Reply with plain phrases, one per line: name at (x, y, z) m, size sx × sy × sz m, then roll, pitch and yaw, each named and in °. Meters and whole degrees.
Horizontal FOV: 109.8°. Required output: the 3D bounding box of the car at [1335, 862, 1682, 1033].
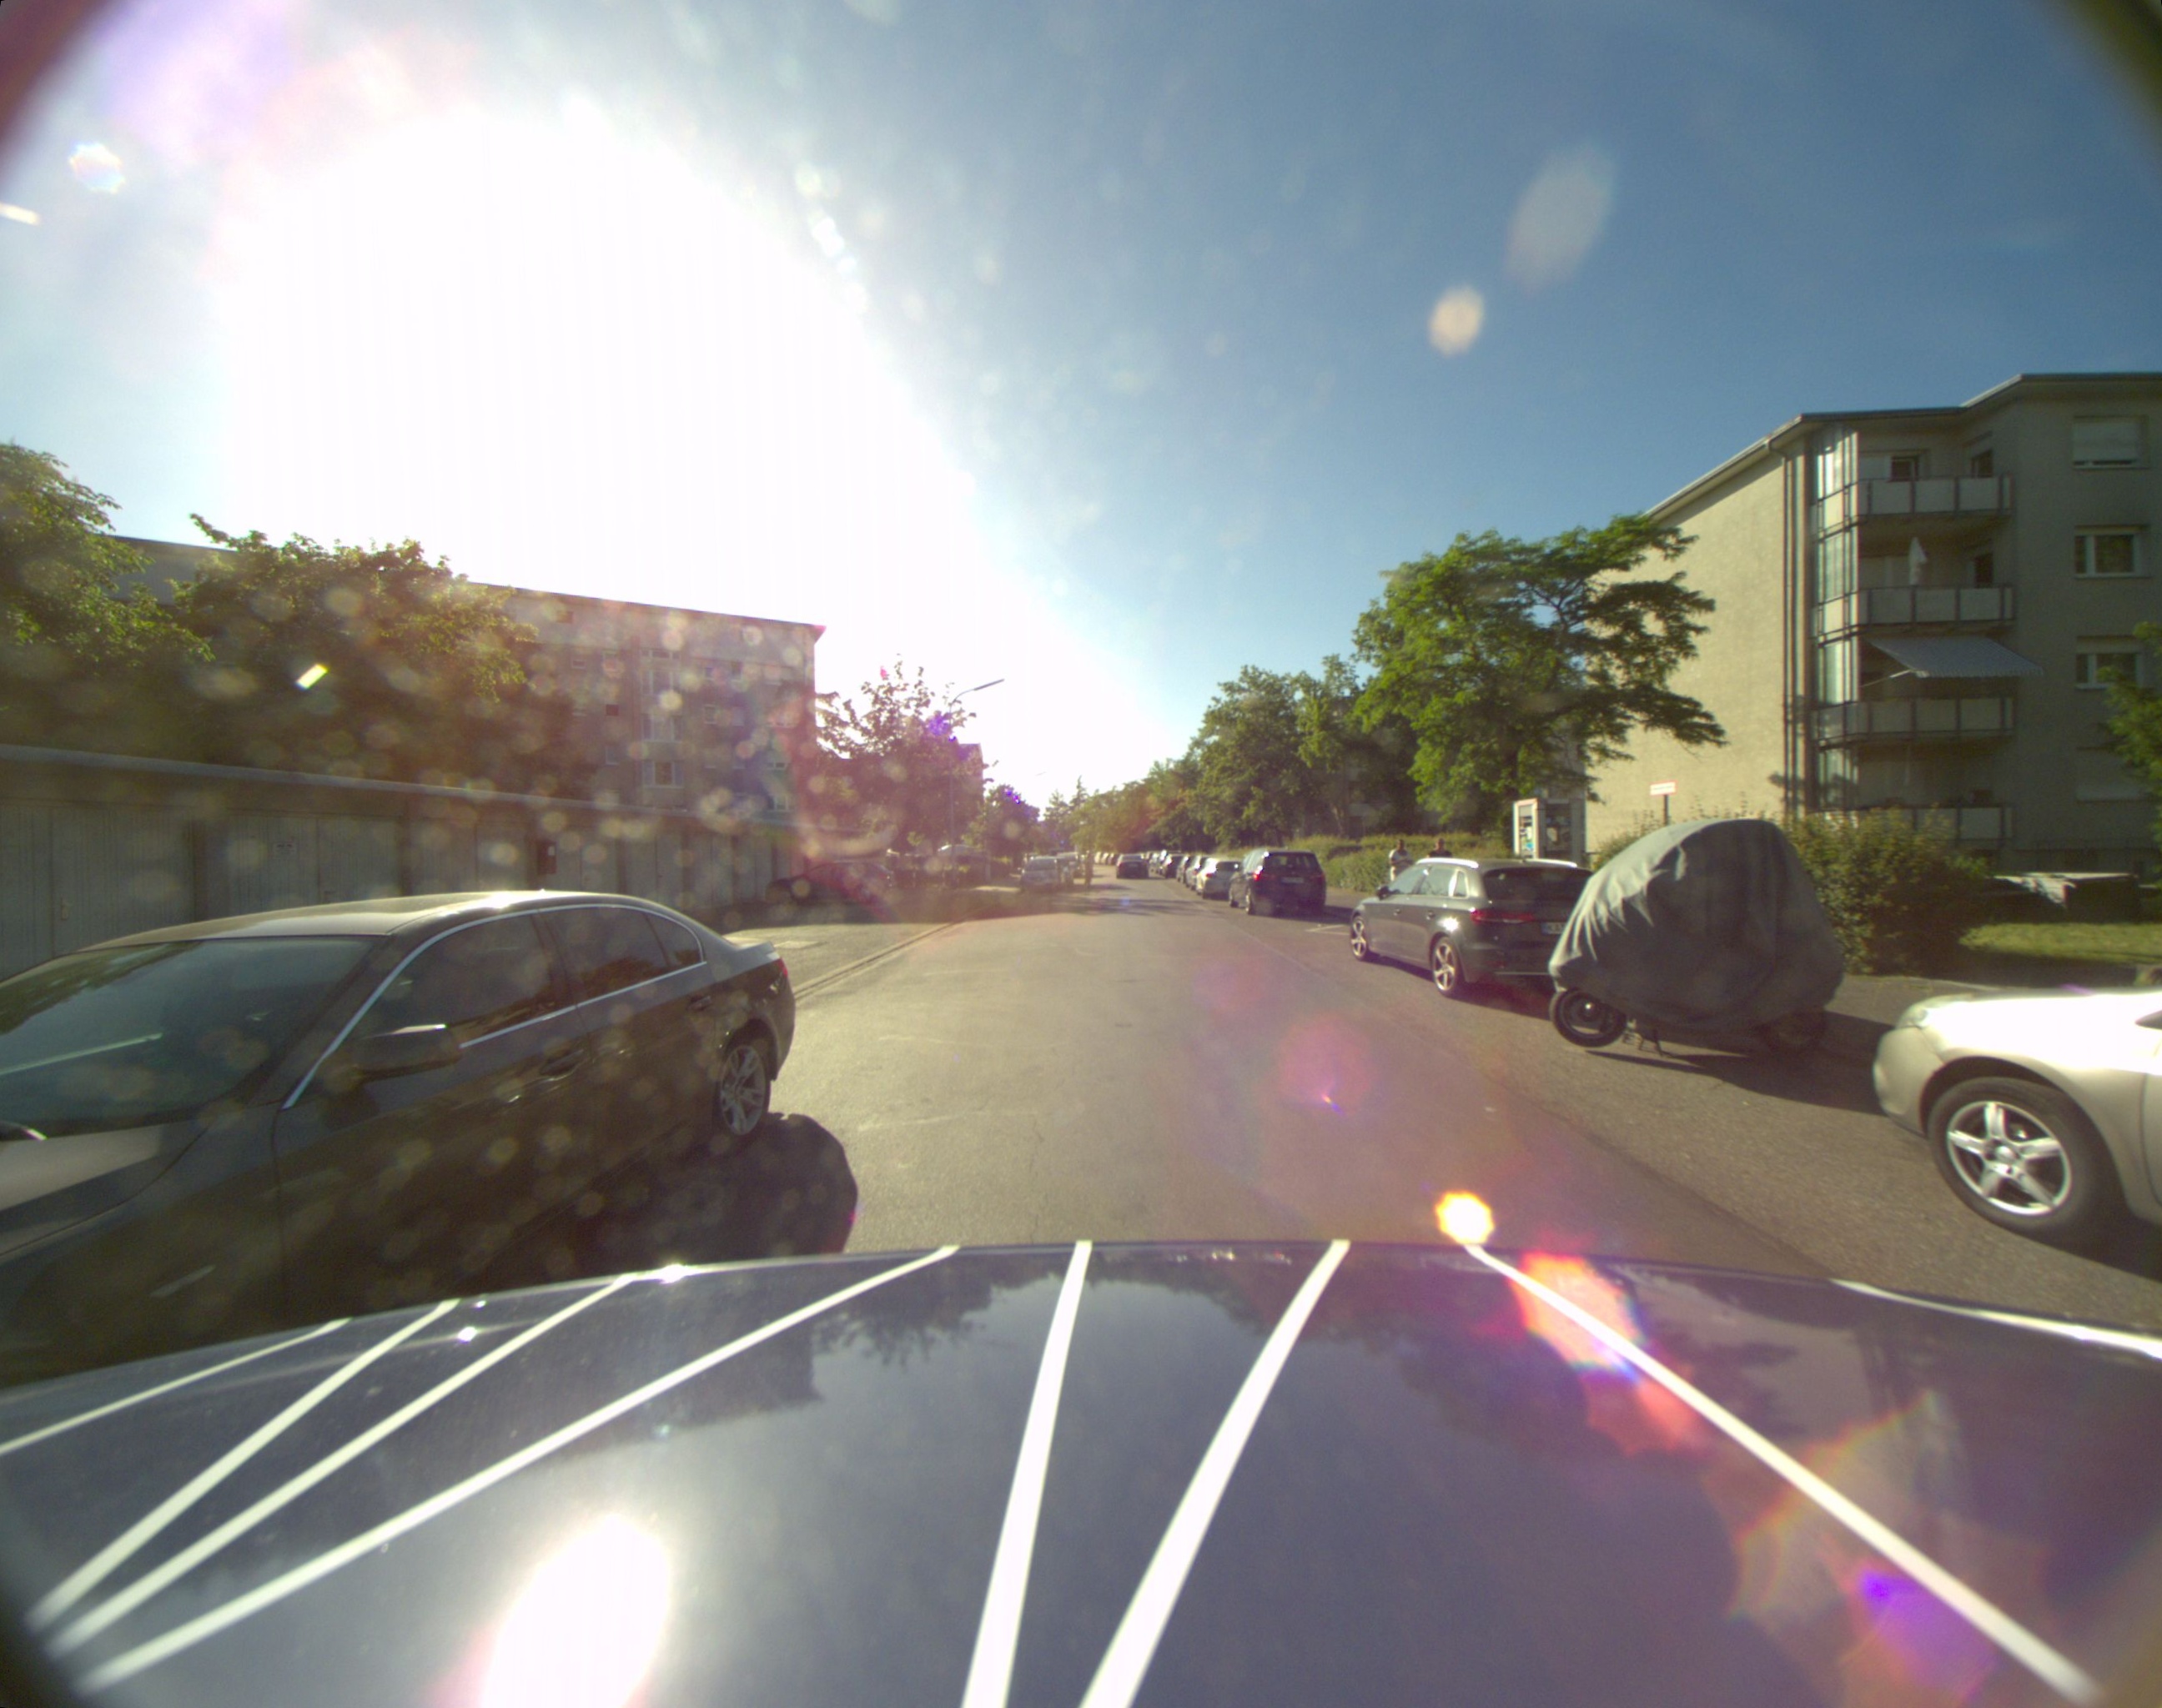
car at (4.524, 0.857, 8.914) m, size 1.758 × 1.413 × 4.269 m, roll 1°, pitch 1°, yaw 2°

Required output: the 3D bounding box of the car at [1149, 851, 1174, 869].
car at (6.725, 0.492, 64.076) m, size 1.758 × 1.428 × 4.151 m, roll 0°, pitch 0°, yaw 1°

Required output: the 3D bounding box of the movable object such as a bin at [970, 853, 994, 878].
movable object such as a bin at (-5.821, 0.672, 44.765) m, size 1.328 × 1.420 × 1.070 m, roll 1°, pitch 1°, yaw -4°

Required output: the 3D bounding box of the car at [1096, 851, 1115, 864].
car at (3.613, 0.461, 113.510) m, size 1.886 × 1.857 × 5.435 m, roll 0°, pitch 0°, yaw -8°

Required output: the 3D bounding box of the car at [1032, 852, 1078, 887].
car at (-1.235, 0.728, 38.017) m, size 1.835 × 1.537 × 4.641 m, roll -2°, pitch 0°, yaw 3°

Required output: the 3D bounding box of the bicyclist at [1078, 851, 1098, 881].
bicyclist at (0.326, 0.544, 35.584) m, size 0.812 × 1.348 × 1.091 m, roll -2°, pitch 1°, yaw 4°

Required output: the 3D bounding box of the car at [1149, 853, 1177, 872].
car at (6.252, 0.646, 58.219) m, size 1.642 × 1.377 × 4.170 m, roll 0°, pitch 0°, yaw -2°

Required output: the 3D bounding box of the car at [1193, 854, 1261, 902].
car at (4.895, 0.743, 26.010) m, size 1.758 × 1.417 × 4.211 m, roll 1°, pitch 1°, yaw 4°

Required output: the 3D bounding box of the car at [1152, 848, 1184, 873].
car at (5.990, 0.417, 52.743) m, size 1.758 × 1.659 × 4.390 m, roll 0°, pitch 0°, yaw 1°

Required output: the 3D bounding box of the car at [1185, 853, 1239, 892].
car at (5.453, 0.733, 32.133) m, size 1.758 × 1.481 × 4.902 m, roll 2°, pitch 0°, yaw 4°

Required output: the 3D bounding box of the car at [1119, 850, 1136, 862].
car at (5.748, 0.253, 94.235) m, size 1.658 × 1.470 × 3.733 m, roll 0°, pitch 0°, yaw -5°

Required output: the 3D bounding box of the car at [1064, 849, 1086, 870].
car at (-0.519, 0.439, 64.335) m, size 1.759 × 1.664 × 4.412 m, roll -2°, pitch 0°, yaw -1°

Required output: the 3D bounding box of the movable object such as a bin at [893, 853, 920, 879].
movable object such as a bin at (-10.218, 0.682, 44.488) m, size 1.325 × 1.472 × 1.029 m, roll -2°, pitch 1°, yaw -4°

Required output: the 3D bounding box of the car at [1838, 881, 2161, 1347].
car at (4.357, 0.893, 1.567) m, size 1.758 × 1.472 × 3.960 m, roll 1°, pitch 1°, yaw 4°

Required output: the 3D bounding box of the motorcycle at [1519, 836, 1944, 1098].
motorcycle at (4.624, 0.757, 5.553) m, size 2.262 × 1.717 × 0.932 m, roll 1°, pitch 1°, yaw -1°

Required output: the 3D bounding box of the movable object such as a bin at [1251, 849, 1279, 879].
movable object such as a bin at (9.207, 0.493, 38.056) m, size 1.004 × 1.407 × 1.326 m, roll -4°, pitch 1°, yaw 0°

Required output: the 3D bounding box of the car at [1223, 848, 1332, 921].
car at (4.870, 0.673, 19.446) m, size 1.758 × 1.626 × 4.370 m, roll 1°, pitch 1°, yaw 2°

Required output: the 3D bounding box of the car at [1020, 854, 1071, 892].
car at (-1.500, 0.798, 33.309) m, size 1.808 × 1.486 × 3.796 m, roll -2°, pitch 0°, yaw 3°

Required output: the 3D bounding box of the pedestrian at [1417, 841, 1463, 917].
pedestrian at (8.040, 0.554, 17.046) m, size 0.722 × 1.669 × 0.600 m, roll -2°, pitch 1°, yaw 2°

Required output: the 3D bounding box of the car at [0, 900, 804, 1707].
car at (-2.820, 1.054, 2.512) m, size 1.805 × 1.410 × 4.636 m, roll -2°, pitch 1°, yaw 4°

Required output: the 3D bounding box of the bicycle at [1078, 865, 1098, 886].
bicycle at (0.338, 1.014, 35.725) m, size 0.823 × 0.896 × 2.203 m, roll -2°, pitch 0°, yaw 3°

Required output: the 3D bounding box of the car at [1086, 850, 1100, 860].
car at (1.993, 0.123, 124.692) m, size 1.659 × 1.558 × 3.687 m, roll 0°, pitch 0°, yaw -9°

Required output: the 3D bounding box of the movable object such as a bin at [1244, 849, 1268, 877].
movable object such as a bin at (9.350, 0.485, 40.637) m, size 0.897 × 1.407 × 1.326 m, roll -4°, pitch 1°, yaw 0°

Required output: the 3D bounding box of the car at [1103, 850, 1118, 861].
car at (4.185, 0.178, 107.543) m, size 1.658 × 1.621 × 3.688 m, roll 0°, pitch 0°, yaw -6°

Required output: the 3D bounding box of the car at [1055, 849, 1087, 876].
car at (-0.619, 0.537, 50.897) m, size 1.758 × 1.617 × 4.496 m, roll -2°, pitch 0°, yaw 3°

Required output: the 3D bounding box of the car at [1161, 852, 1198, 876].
car at (6.031, 0.569, 47.064) m, size 1.758 × 1.377 × 4.674 m, roll 0°, pitch 1°, yaw 1°

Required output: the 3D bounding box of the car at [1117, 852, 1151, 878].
car at (3.200, 0.633, 46.494) m, size 1.915 × 1.468 × 4.571 m, roll -1°, pitch 0°, yaw 2°

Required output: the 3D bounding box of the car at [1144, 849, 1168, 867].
car at (6.838, 0.311, 69.797) m, size 1.811 × 1.596 × 4.432 m, roll 0°, pitch 0°, yaw 0°

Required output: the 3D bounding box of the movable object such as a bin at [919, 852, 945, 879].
movable object such as a bin at (-8.730, 0.640, 44.679) m, size 1.328 × 1.528 × 1.029 m, roll -2°, pitch 1°, yaw -4°

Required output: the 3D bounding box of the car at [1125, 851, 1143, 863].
car at (6.200, 0.345, 89.197) m, size 1.658 × 1.470 × 3.105 m, roll 0°, pitch 0°, yaw -3°

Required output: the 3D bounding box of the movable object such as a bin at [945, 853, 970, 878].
movable object such as a bin at (-7.289, 0.659, 44.767) m, size 1.328 × 1.423 × 1.029 m, roll -2°, pitch 1°, yaw -4°

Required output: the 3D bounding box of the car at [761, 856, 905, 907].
car at (-8.231, 0.890, 25.469) m, size 4.193 × 1.486 × 1.817 m, roll -2°, pitch 1°, yaw -1°

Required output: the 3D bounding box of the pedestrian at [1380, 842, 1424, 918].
pedestrian at (7.222, 0.581, 17.120) m, size 0.722 × 1.669 × 0.616 m, roll -2°, pitch 1°, yaw 2°

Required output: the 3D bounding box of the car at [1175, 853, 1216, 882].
car at (5.890, 0.672, 39.447) m, size 1.652 × 1.455 × 3.496 m, roll 0°, pitch 0°, yaw 1°

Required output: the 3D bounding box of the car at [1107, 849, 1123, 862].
car at (4.557, 0.189, 101.468) m, size 1.658 × 1.621 × 4.070 m, roll 0°, pitch 0°, yaw -4°
